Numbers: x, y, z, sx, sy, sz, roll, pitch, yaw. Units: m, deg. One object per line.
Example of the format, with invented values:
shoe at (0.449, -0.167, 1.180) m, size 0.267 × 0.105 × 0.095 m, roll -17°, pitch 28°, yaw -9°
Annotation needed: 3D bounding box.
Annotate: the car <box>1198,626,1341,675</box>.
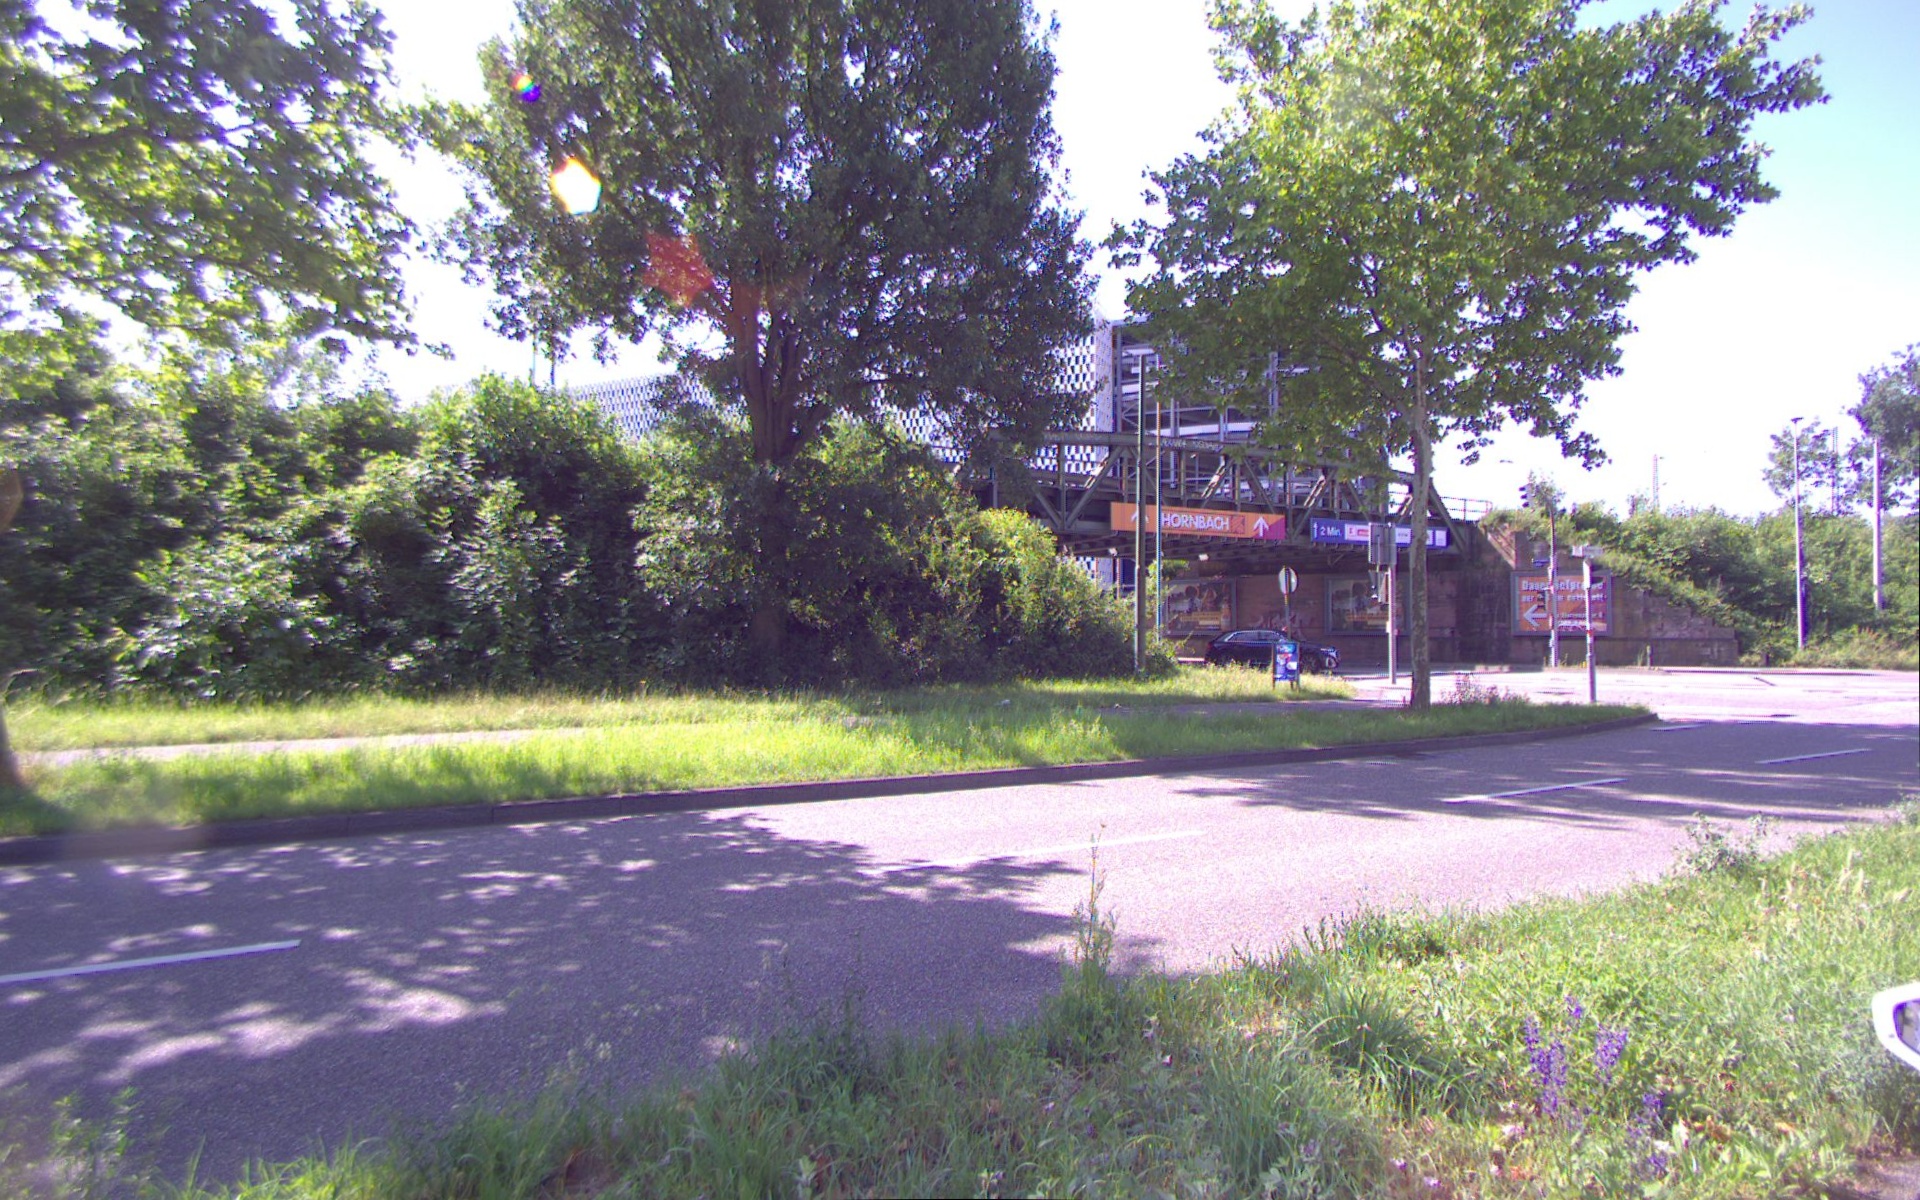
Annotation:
car at (11.537, 1.838, 37.554) m, size 4.957 × 1.617 × 1.526 m, roll 1°, pitch -1°, yaw 24°
